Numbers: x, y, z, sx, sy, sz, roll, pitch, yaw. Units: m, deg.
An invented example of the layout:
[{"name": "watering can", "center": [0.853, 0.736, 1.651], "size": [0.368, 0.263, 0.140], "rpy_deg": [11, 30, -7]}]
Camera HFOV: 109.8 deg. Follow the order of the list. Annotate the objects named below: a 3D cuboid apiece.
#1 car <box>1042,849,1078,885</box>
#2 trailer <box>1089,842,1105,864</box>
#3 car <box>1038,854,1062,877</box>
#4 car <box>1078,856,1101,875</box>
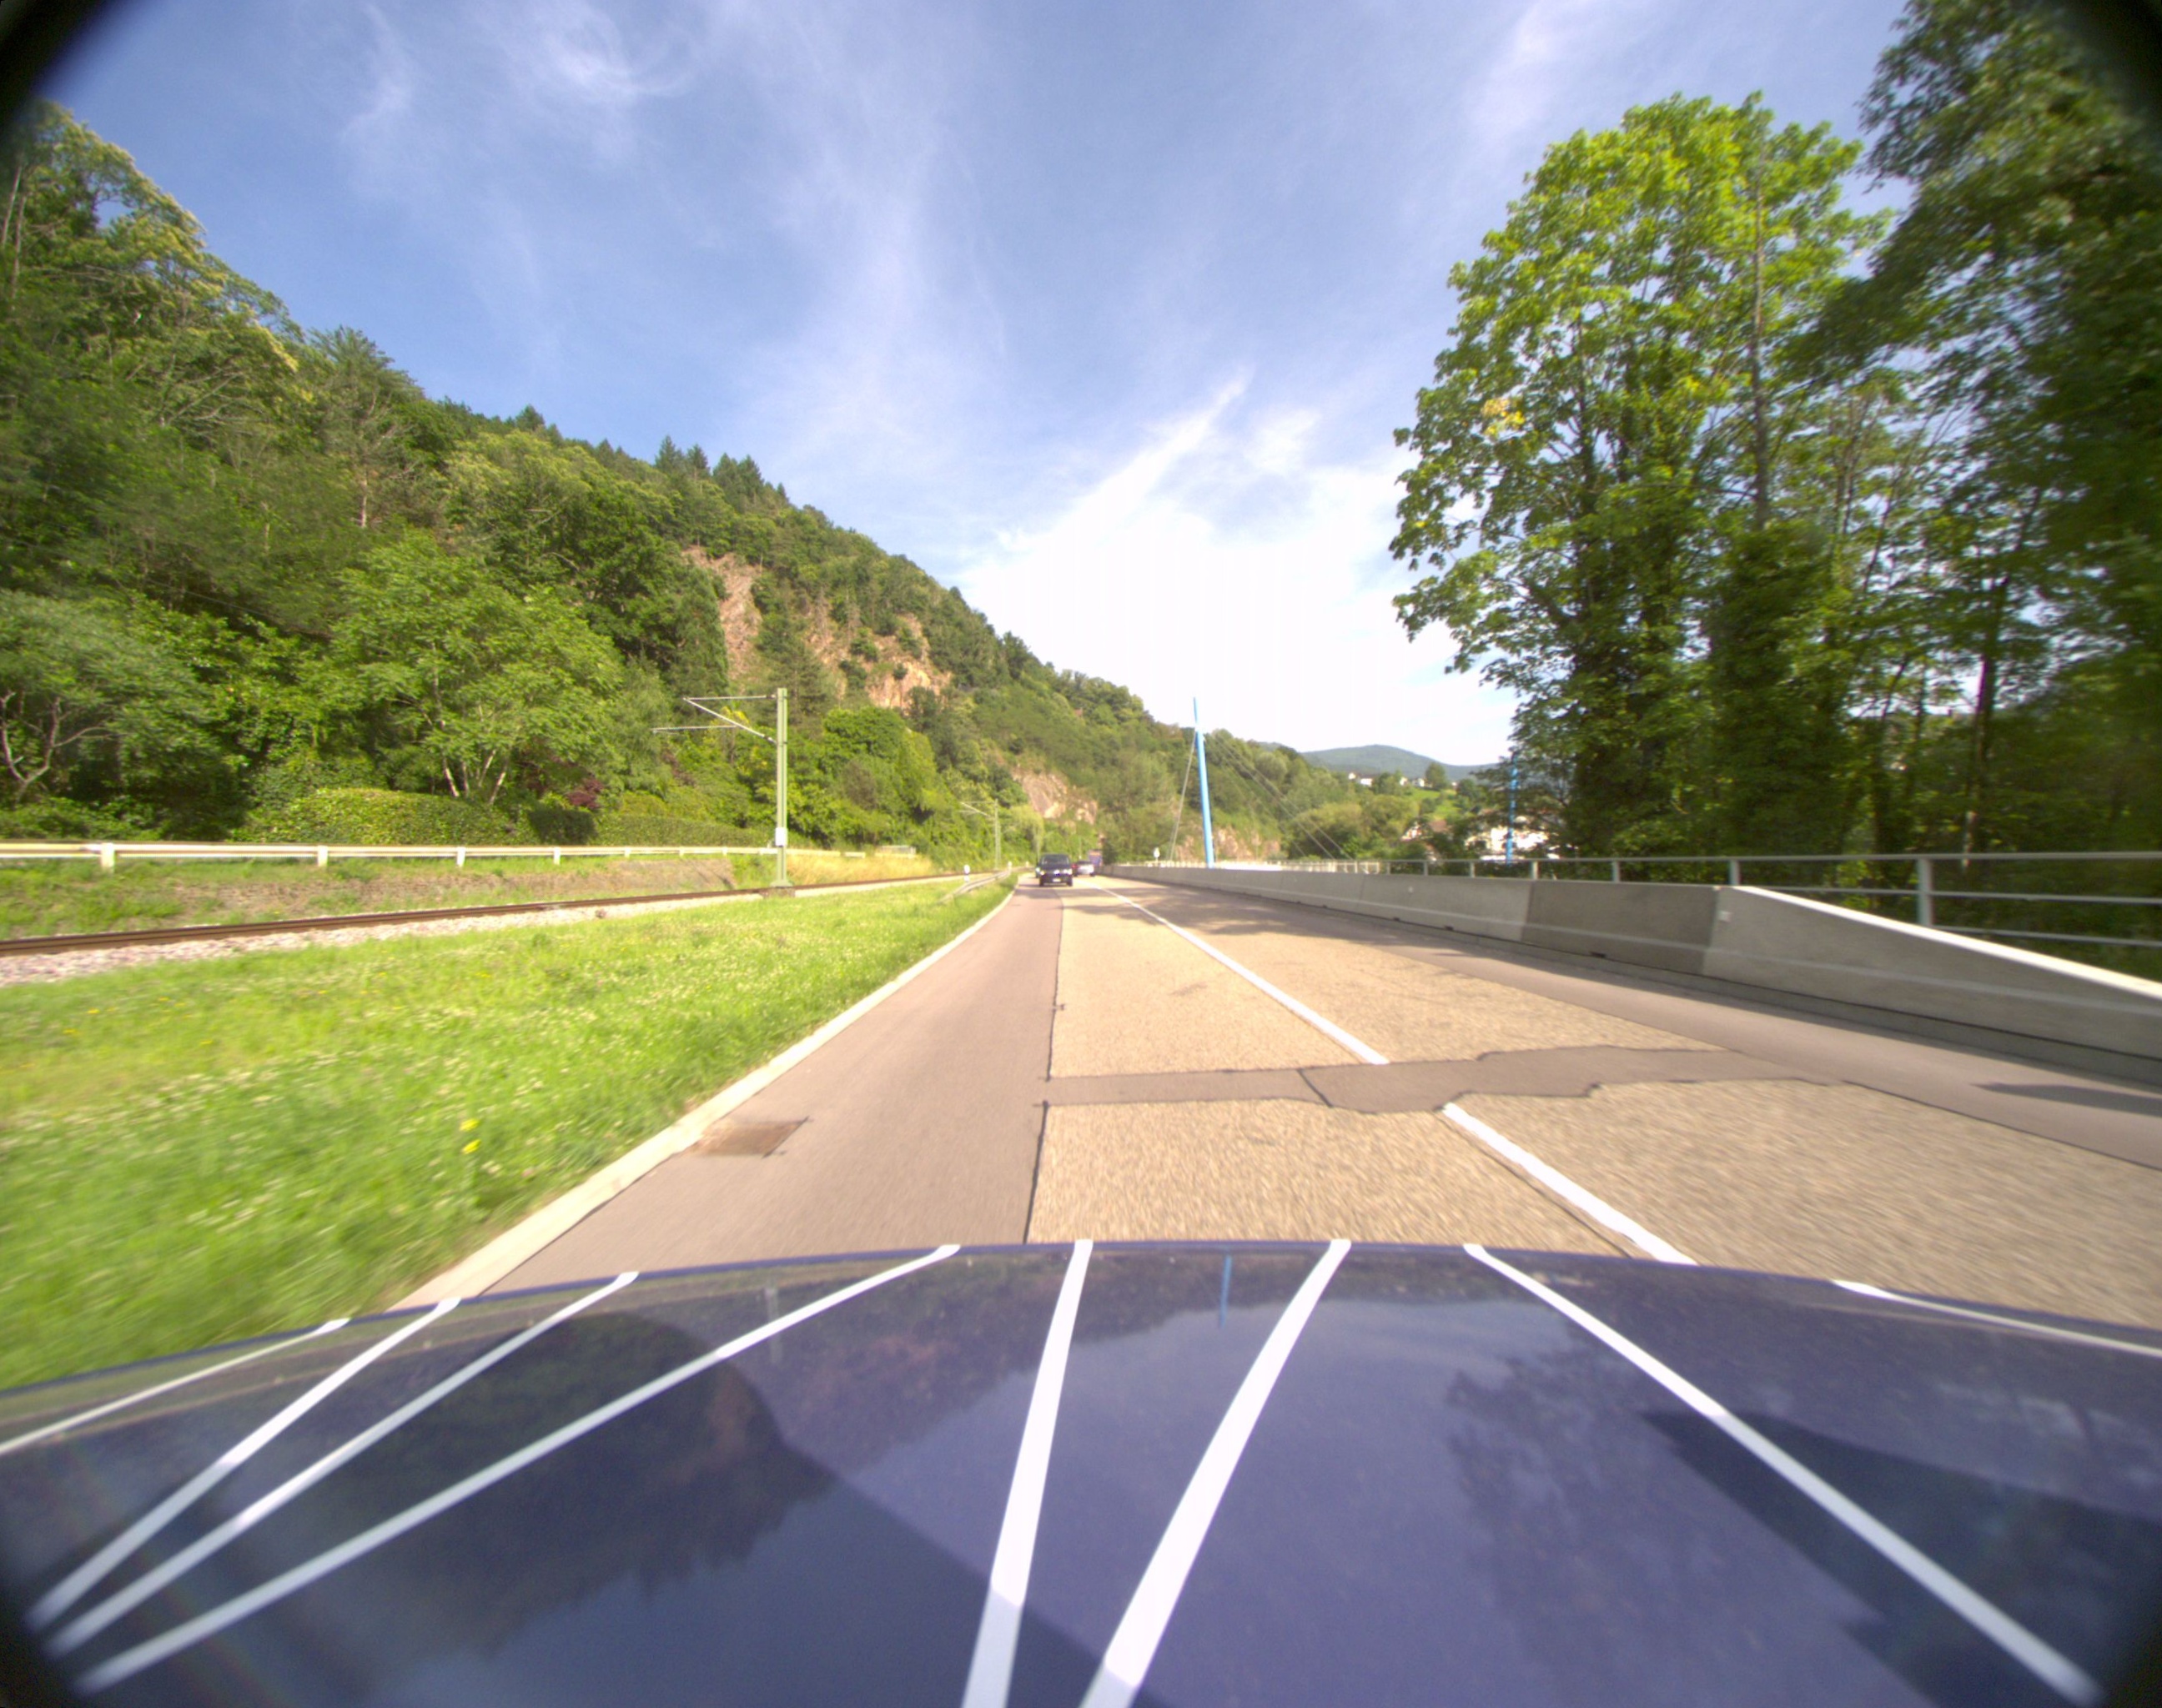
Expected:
[{"name": "car", "center": [-1.221, 0.780, 44.358], "size": [1.999, 2.001, 4.001], "rpy_deg": [0, -2, -2]}, {"name": "trailer", "center": [2.904, -0.128, 143.165], "size": [2.864, 3.989, 13.671], "rpy_deg": [1, 0, 0]}, {"name": "car", "center": [-2.783, 0.992, 68.362], "size": [1.999, 2.002, 3.999], "rpy_deg": [1, 0, -2]}, {"name": "car", "center": [0.770, 1.006, 68.925], "size": [1.998, 1.619, 4.507], "rpy_deg": [-2, 0, 1]}]
